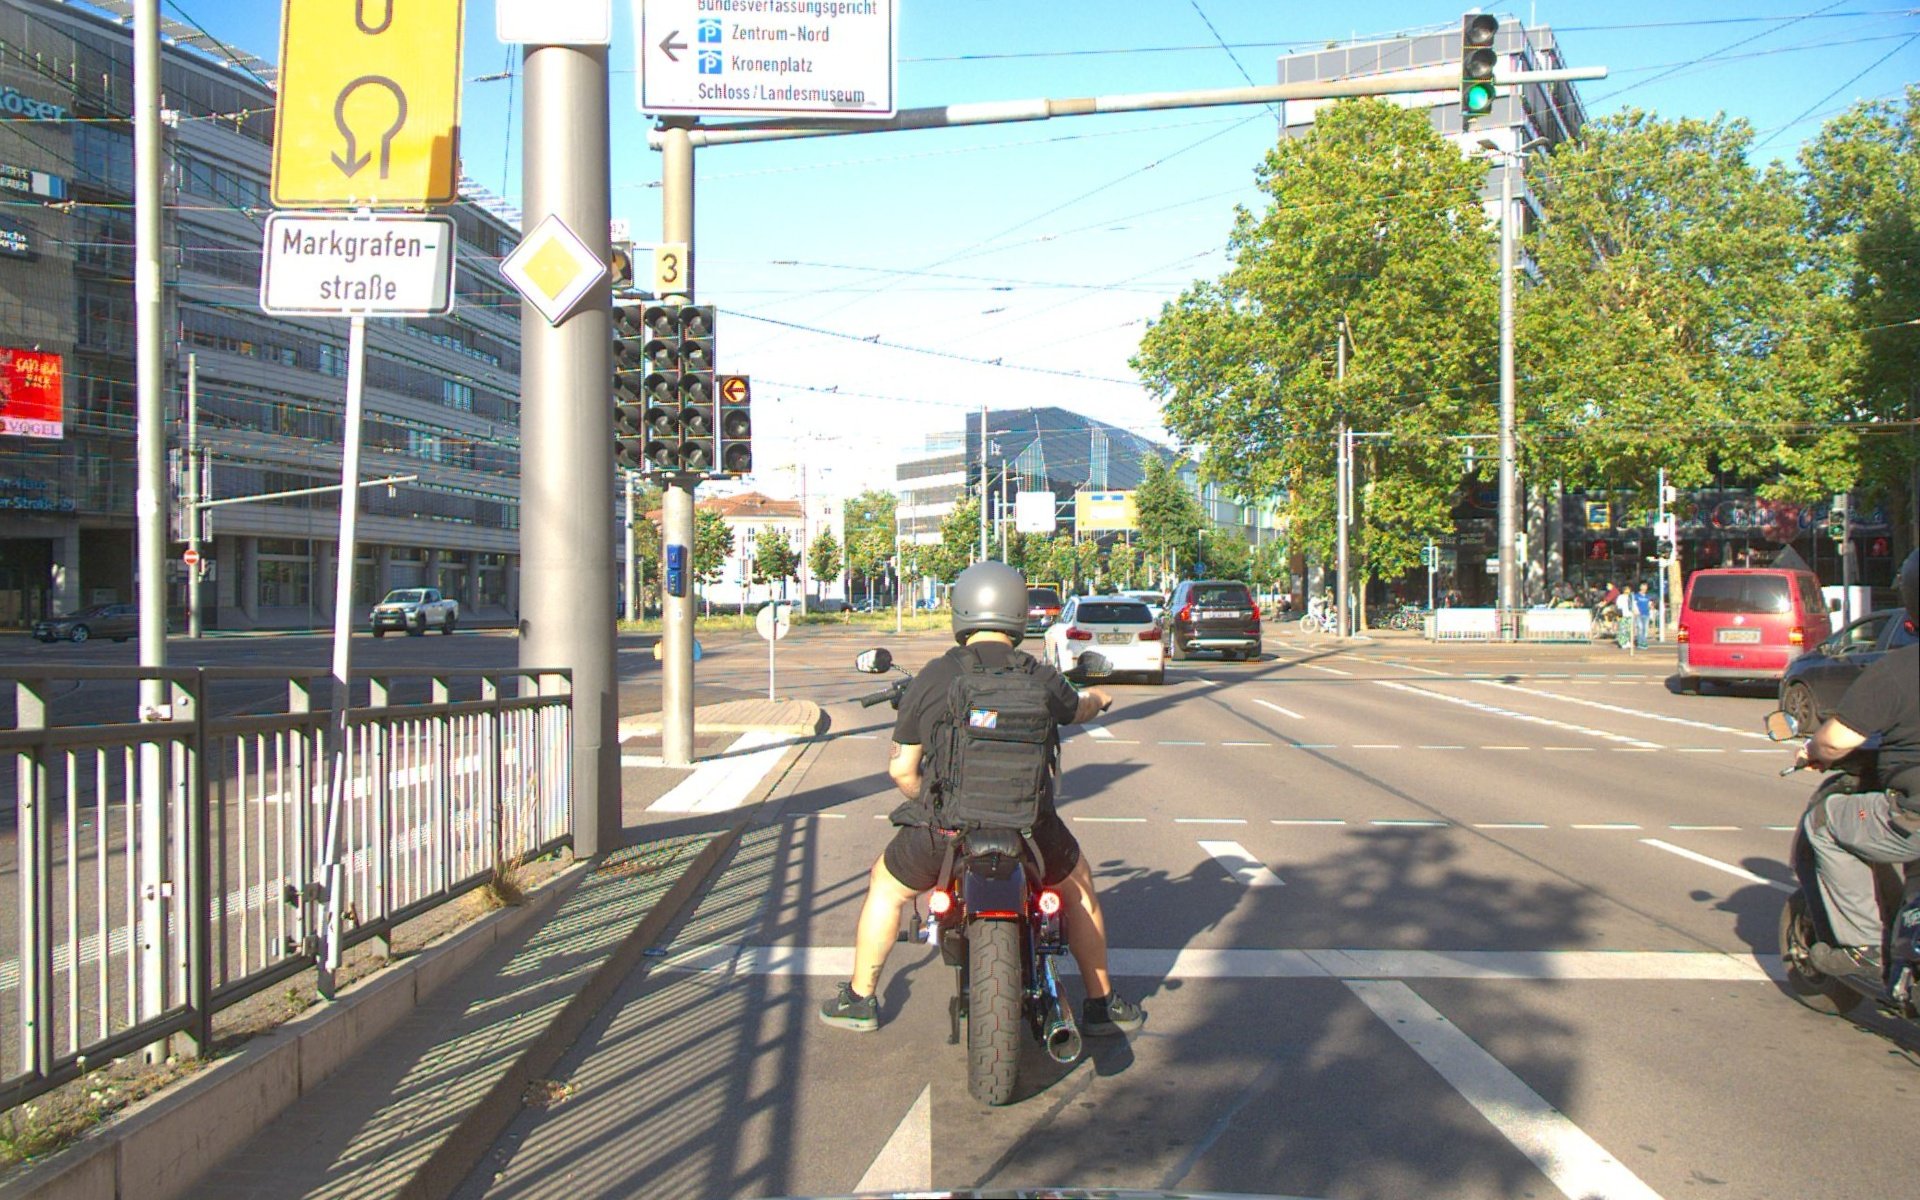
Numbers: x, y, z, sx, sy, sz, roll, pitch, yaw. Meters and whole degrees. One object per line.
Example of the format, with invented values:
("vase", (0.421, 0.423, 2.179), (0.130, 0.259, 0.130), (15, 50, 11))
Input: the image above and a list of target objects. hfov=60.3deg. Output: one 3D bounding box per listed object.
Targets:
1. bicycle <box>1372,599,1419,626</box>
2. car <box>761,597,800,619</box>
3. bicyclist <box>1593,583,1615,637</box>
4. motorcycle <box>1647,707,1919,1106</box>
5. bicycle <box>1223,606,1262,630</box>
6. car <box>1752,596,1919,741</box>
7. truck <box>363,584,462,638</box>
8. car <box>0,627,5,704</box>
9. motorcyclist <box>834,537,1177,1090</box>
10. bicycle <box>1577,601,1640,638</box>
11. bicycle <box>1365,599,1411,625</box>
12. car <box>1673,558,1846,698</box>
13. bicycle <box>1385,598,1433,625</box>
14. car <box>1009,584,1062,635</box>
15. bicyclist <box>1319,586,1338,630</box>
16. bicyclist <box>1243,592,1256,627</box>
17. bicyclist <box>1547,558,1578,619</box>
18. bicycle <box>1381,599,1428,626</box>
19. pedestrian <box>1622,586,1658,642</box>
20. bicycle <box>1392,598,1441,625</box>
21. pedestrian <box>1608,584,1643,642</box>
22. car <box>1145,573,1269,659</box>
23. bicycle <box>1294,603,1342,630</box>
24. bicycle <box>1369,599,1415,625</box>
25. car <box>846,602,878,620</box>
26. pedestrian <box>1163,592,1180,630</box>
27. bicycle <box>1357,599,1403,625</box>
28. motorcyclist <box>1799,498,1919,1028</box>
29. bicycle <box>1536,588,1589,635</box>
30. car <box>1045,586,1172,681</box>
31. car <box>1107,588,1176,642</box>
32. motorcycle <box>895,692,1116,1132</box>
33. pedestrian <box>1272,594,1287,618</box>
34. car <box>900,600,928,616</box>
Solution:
("bicycle", (18.110, 0.516, 68.774), (1.842, 1.065, 0.360), (1, -1, -2))
("car", (-12.856, 0.551, 118.492), (1.786, 1.455, 4.533), (0, 0, 7))
("bicyclist", (22.156, 0.344, 56.919), (0.572, 1.870, 0.402), (1, -1, -1))
("motorcycle", (3.218, 0.968, 5.583), (0.787, 1.069, 2.375), (1, -1, -1))
("bicycle", (11.354, 0.733, 66.461), (0.354, 0.942, 1.807), (2, -1, -36))
("car", (10.748, 0.735, 18.366), (1.698, 1.475, 4.037), (1, 0, -5))
("truck", (-21.068, 0.457, 63.878), (1.952, 1.912, 5.156), (-3, -1, 2))
("car", (-14.665, 0.893, 22.373), (2.835, 1.081, 1.235), (1, -1, -22))
("motorcyclist", (0.129, 0.624, 5.308), (1.009, 1.621, 0.873), (0, 0, -1))
("bicycle", (22.311, 0.661, 56.912), (2.001, 1.235, 0.421), (1, -1, -1))
("bicycle", (18.058, 0.505, 69.759), (1.842, 1.064, 0.360), (1, 0, -2))
("car", (12.880, 0.423, 26.504), (1.773, 2.044, 4.457), (1, 0, 35))
("bicycle", (18.108, 0.473, 66.771), (1.842, 1.065, 0.360), (1, -1, -2))
("car", (2.626, 0.347, 57.813), (1.766, 1.708, 4.042), (1, -1, 2))
("bicyclist", (14.582, 0.325, 65.387), (0.673, 1.702, 0.541), (0, -1, 18))
("bicyclist", (11.592, 0.368, 66.158), (0.341, 1.397, 0.377), (2, -1, -37))
("bicyclist", (18.499, -0.356, 50.811), (0.682, 1.840, 0.729), (1, -1, 3))
("bicycle", (18.168, 0.495, 67.587), (1.842, 1.065, 0.360), (1, -1, -2))
("pedestrian", (18.527, 0.389, 45.061), (0.560, 1.505, 0.695), (1, -1, -30))
("bicycle", (18.215, 0.456, 65.991), (1.842, 1.065, 0.360), (1, -1, -2))
("pedestrian", (18.009, 0.353, 44.766), (0.559, 1.559, 0.695), (1, -1, -29))
("car", (5.455, 0.306, 37.070), (1.698, 1.762, 4.607), (1, 1, -5))
("bicycle", (14.186, 0.648, 65.511), (1.831, 1.062, 0.537), (0, -1, 18))
("bicycle", (18.091, 0.508, 69.259), (1.842, 1.064, 0.360), (1, 0, -2))
("car", (-8.265, 0.938, 139.860), (1.786, 1.455, 4.244), (1, -1, 11))
("pedestrian", (8.788, 0.465, 68.733), (0.576, 1.584, 0.488), (1, -1, -9))
("bicycle", (18.000, 0.505, 70.908), (1.842, 1.064, 0.360), (1, 0, -2))
("motorcyclist", (3.217, 0.502, 5.298), (0.780, 1.607, 0.529), (1, -1, -2))
("bicycle", (18.504, 0.370, 50.843), (0.710, 1.391, 2.918), (1, -1, 3))
("car", (2.472, 0.549, 28.430), (1.696, 1.482, 4.417), (1, -1, -1))
("car", (5.793, 0.455, 53.067), (1.696, 1.626, 4.040), (1, 1, -1))
("motorcycle", (0.107, 0.913, 5.630), (0.588, 1.054, 2.233), (1, 0, -1))
("pedestrian", (17.577, 0.340, 91.036), (0.802, 1.337, 0.638), (1, -1, 8))
("car", (-4.357, 0.780, 158.565), (1.712, 1.550, 4.003), (1, -1, 13))
